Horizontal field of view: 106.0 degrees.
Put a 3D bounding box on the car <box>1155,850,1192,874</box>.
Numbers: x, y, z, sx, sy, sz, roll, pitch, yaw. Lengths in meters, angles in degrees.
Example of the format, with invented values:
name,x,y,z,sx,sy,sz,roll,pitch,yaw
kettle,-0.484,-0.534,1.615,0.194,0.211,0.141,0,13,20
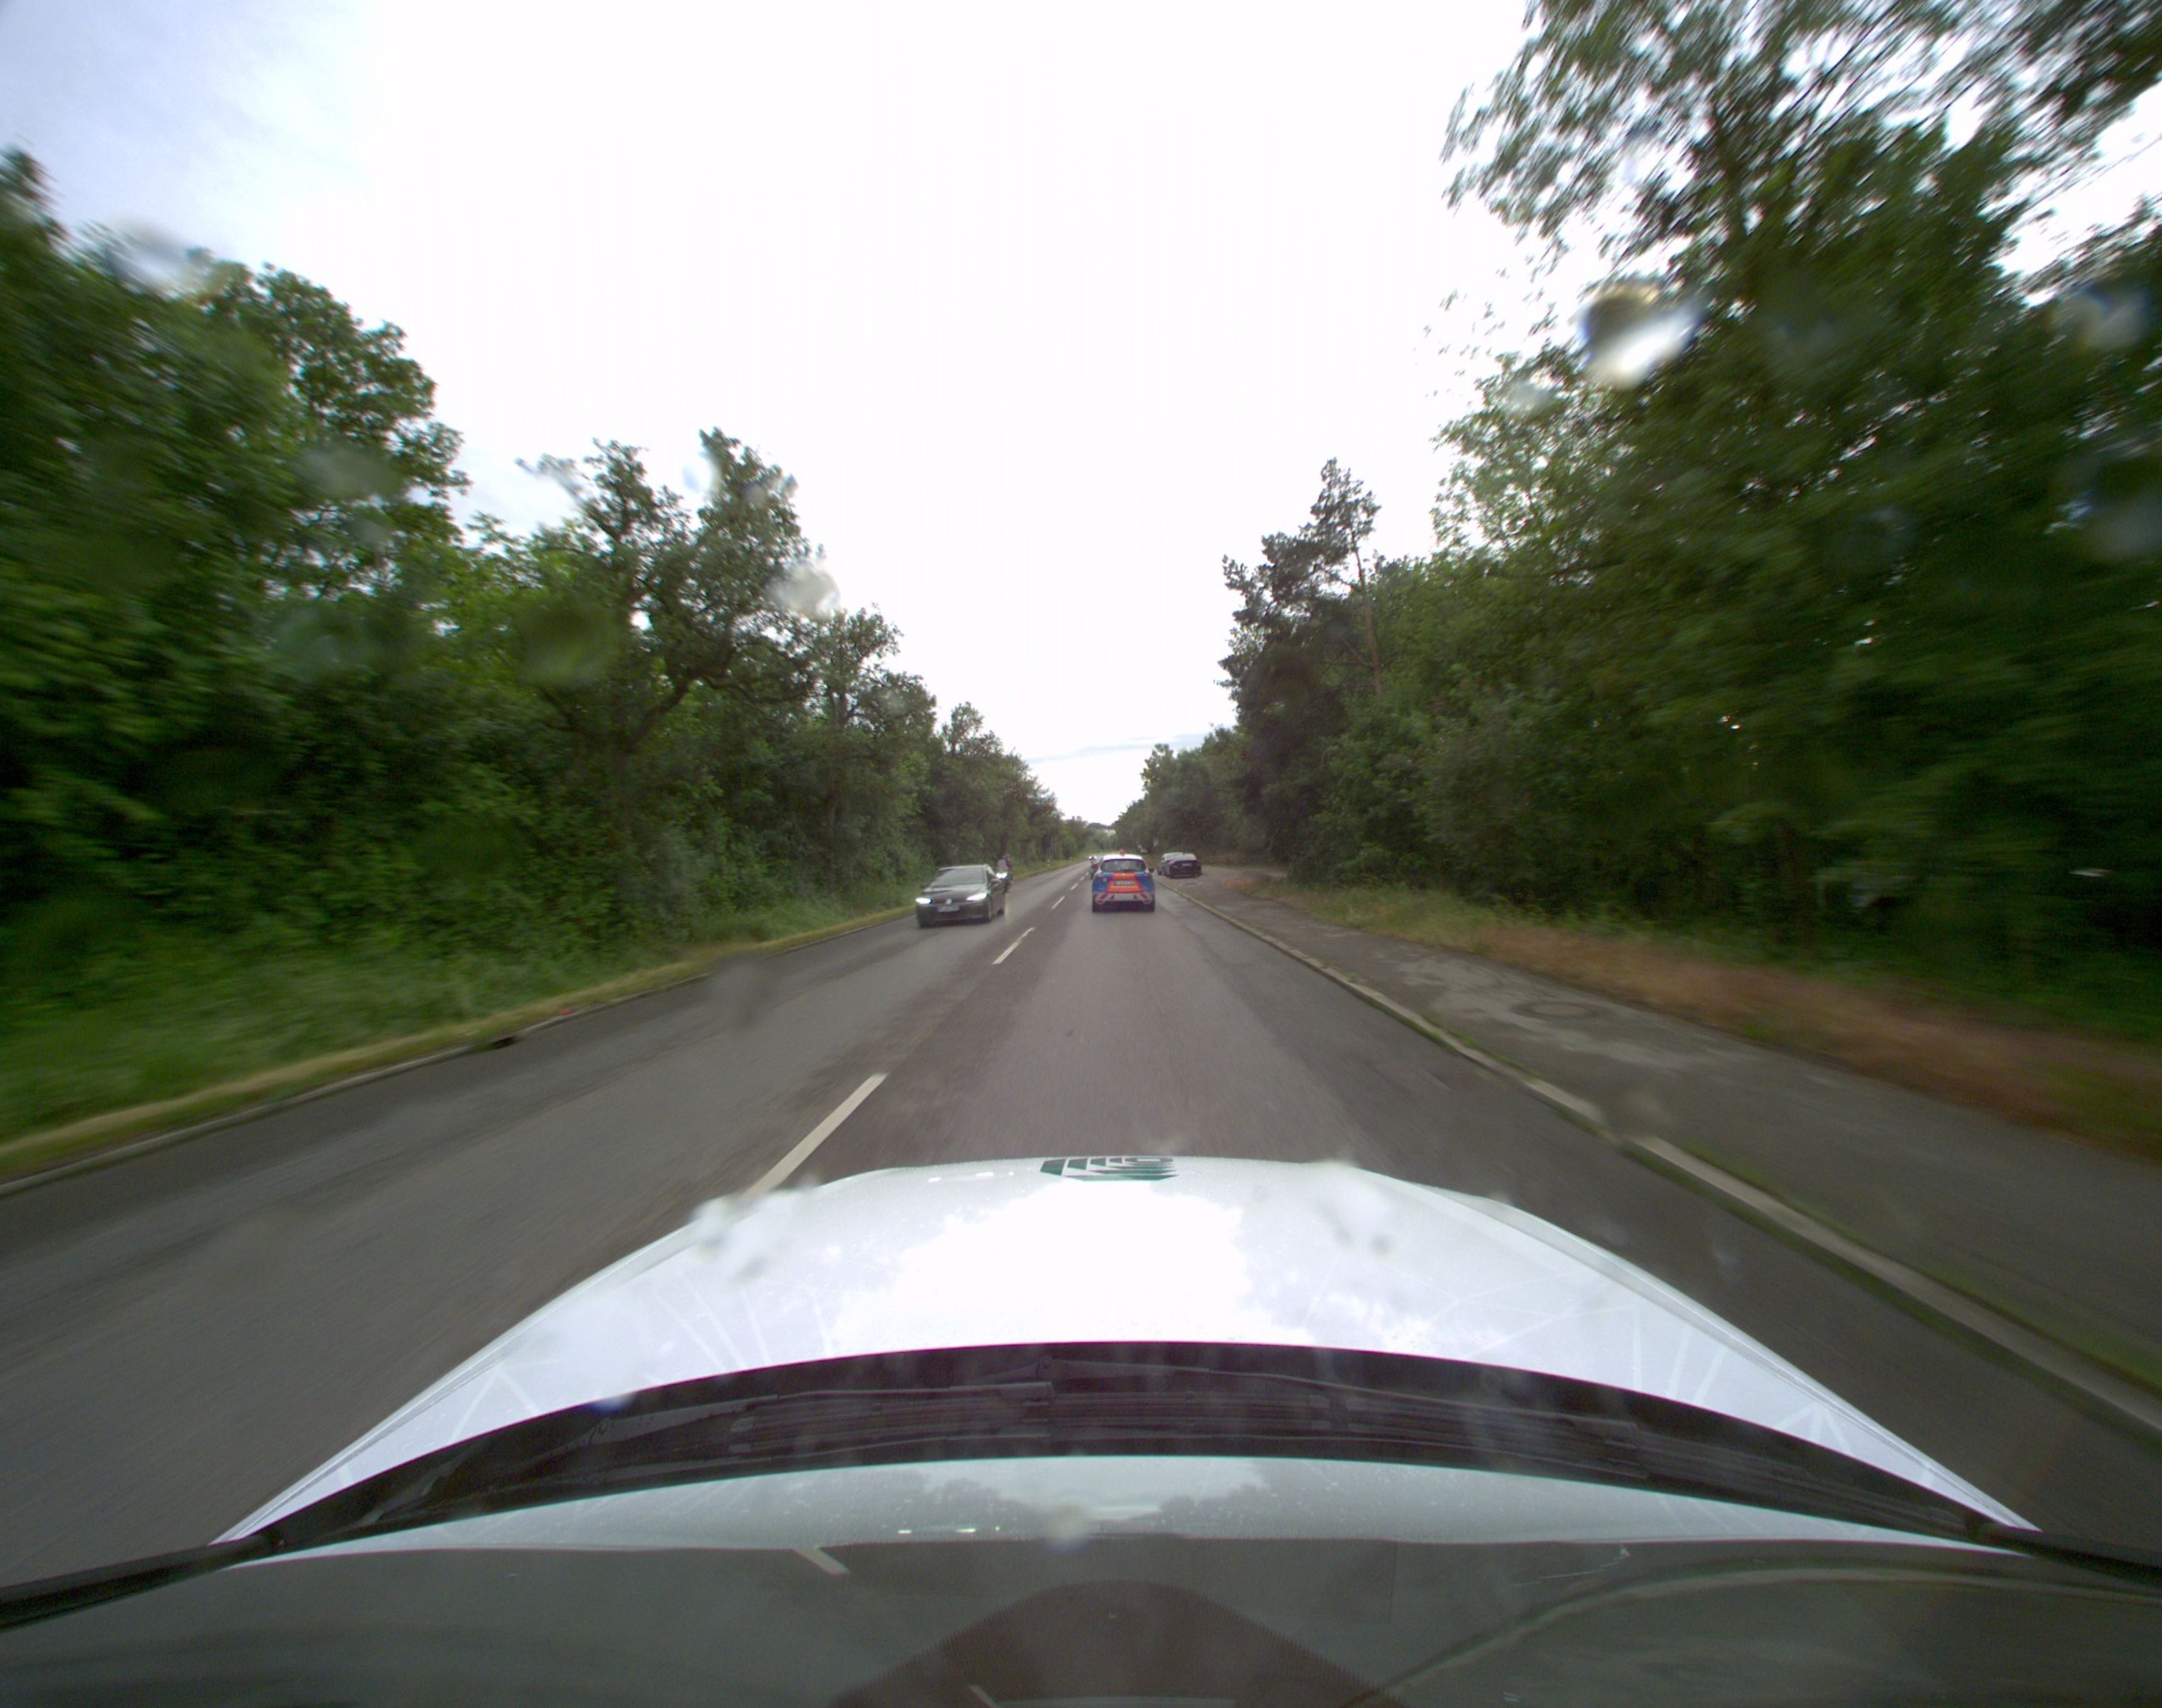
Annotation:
name,x,y,z,sx,sy,sz,roll,pitch,yaw
car,6.046,0.487,53.447,1.987,1.441,4.068,-1,0,1

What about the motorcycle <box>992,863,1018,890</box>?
name,x,y,z,sx,sy,sz,roll,pitch,yaw
motorcycle,-3.460,1.008,37.314,0.865,1.126,2.396,-2,0,1

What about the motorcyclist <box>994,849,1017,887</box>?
name,x,y,z,sx,sy,sz,roll,pitch,yaw
motorcyclist,-3.464,0.637,37.430,0.865,1.722,1.036,-2,0,1

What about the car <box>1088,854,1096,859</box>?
name,x,y,z,sx,sy,sz,roll,pitch,yaw
car,2.806,0.610,202.877,1.878,1.387,4.000,-1,0,0

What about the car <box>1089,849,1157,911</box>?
name,x,y,z,sx,sy,sz,roll,pitch,yaw
car,1.165,0.666,23.189,1.745,1.555,3.794,-1,1,2

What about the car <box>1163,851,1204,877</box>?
name,x,y,z,sx,sy,sz,roll,pitch,yaw
car,5.942,0.543,47.599,1.985,1.376,4.003,-2,0,3

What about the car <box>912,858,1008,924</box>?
name,x,y,z,sx,sy,sz,roll,pitch,yaw
car,-3.017,0.877,21.141,1.704,1.399,4.151,-4,0,1

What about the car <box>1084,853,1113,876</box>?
name,x,y,z,sx,sy,sz,roll,pitch,yaw
car,1.083,0.590,49.450,1.592,1.287,3.478,-2,0,3
